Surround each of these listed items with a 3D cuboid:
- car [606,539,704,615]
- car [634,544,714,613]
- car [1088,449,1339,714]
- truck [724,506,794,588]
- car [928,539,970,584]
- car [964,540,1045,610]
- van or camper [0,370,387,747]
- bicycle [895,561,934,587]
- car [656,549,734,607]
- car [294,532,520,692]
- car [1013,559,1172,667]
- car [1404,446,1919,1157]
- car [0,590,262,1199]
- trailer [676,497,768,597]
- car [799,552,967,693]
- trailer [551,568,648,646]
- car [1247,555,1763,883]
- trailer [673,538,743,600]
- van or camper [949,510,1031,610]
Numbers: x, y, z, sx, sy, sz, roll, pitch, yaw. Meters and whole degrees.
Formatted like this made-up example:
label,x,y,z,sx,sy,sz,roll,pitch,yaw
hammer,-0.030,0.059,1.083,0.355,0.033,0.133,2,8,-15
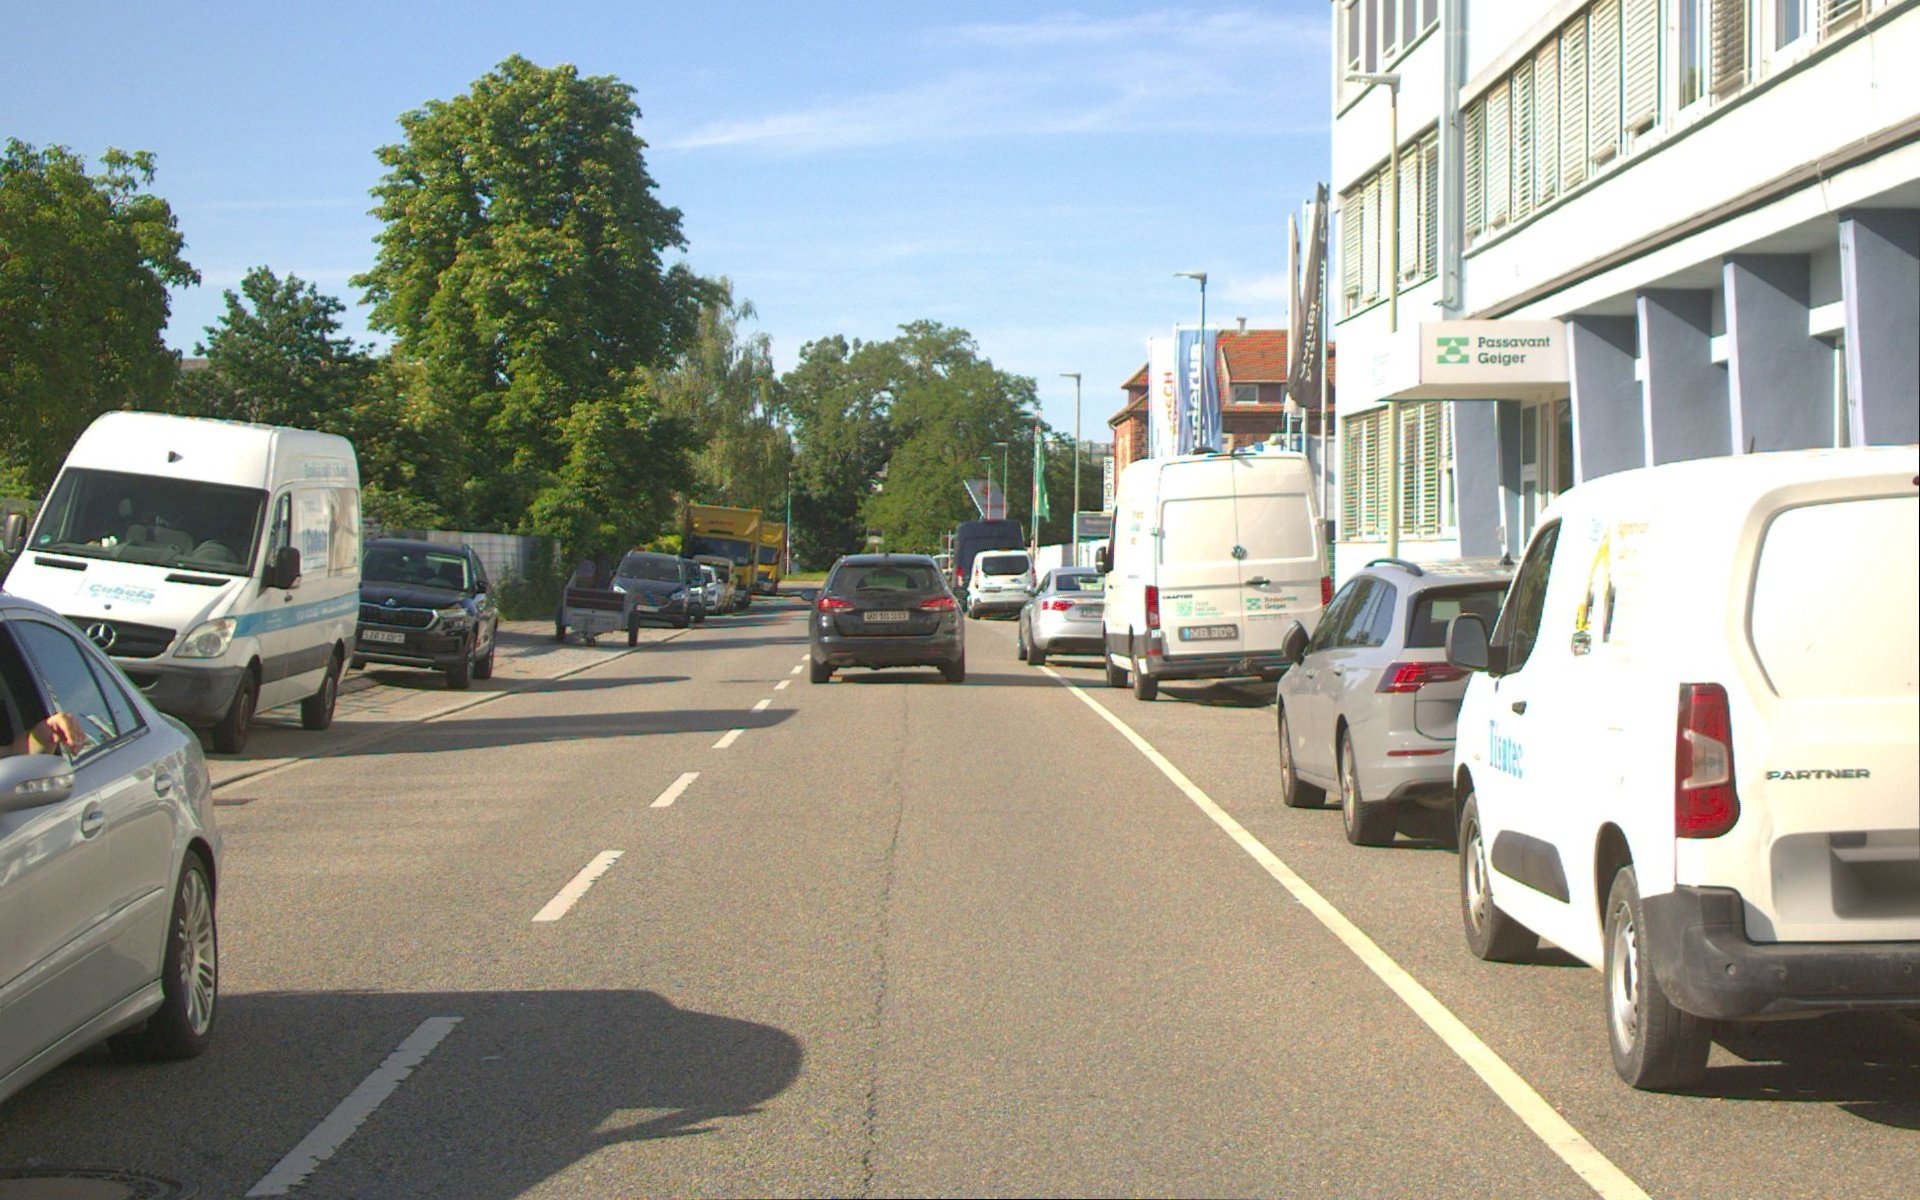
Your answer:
label,x,y,z,sx,sy,sz,roll,pitch,yaw
car,-7.123,-0.563,80.602,1.791,1.725,4.802,0,1,1
car,-7.607,-0.595,91.848,1.908,1.657,4.464,4,1,-4
car,2.645,-0.281,37.352,1.993,2.589,6.052,-2,2,-2
truck,-9.656,-2.603,165.626,2.631,3.493,8.657,6,2,-1
car,-0.515,-1.762,159.628,1.874,2.007,5.160,2,0,-1
car,1.175,-0.672,93.128,1.885,1.791,5.104,2,0,-2
van or camper,-6.415,-0.370,28.782,1.966,2.676,5.948,5,1,1
bicycle,-2.305,-1.328,174.183,0.803,1.263,2.258,1,0,-36
car,-8.082,-0.694,105.217,1.908,1.588,5.025,4,1,0
car,-6.631,0.088,41.754,2.030,1.688,5.107,4,1,-2
car,1.826,0.158,48.784,1.894,1.400,5.124,2,0,-1
car,2.735,0.485,11.386,1.889,1.826,5.090,0,1,0
car,-3.093,0.723,8.858,1.747,1.442,4.361,0,1,-1
trailer,-8.389,-1.875,122.039,2.991,3.431,8.162,0,1,-2
car,-0.860,0.217,39.988,1.847,1.525,4.000,0,1,0
trailer,-6.585,0.111,62.987,1.476,1.349,3.079,2,1,-1
car,2.839,0.542,19.099,1.889,1.555,5.091,0,1,-2
trailer,-8.113,-1.005,111.141,1.993,1.935,4.415,0,1,-1
van or camper,0.836,-1.155,99.561,2.140,2.750,6.161,2,0,-1
